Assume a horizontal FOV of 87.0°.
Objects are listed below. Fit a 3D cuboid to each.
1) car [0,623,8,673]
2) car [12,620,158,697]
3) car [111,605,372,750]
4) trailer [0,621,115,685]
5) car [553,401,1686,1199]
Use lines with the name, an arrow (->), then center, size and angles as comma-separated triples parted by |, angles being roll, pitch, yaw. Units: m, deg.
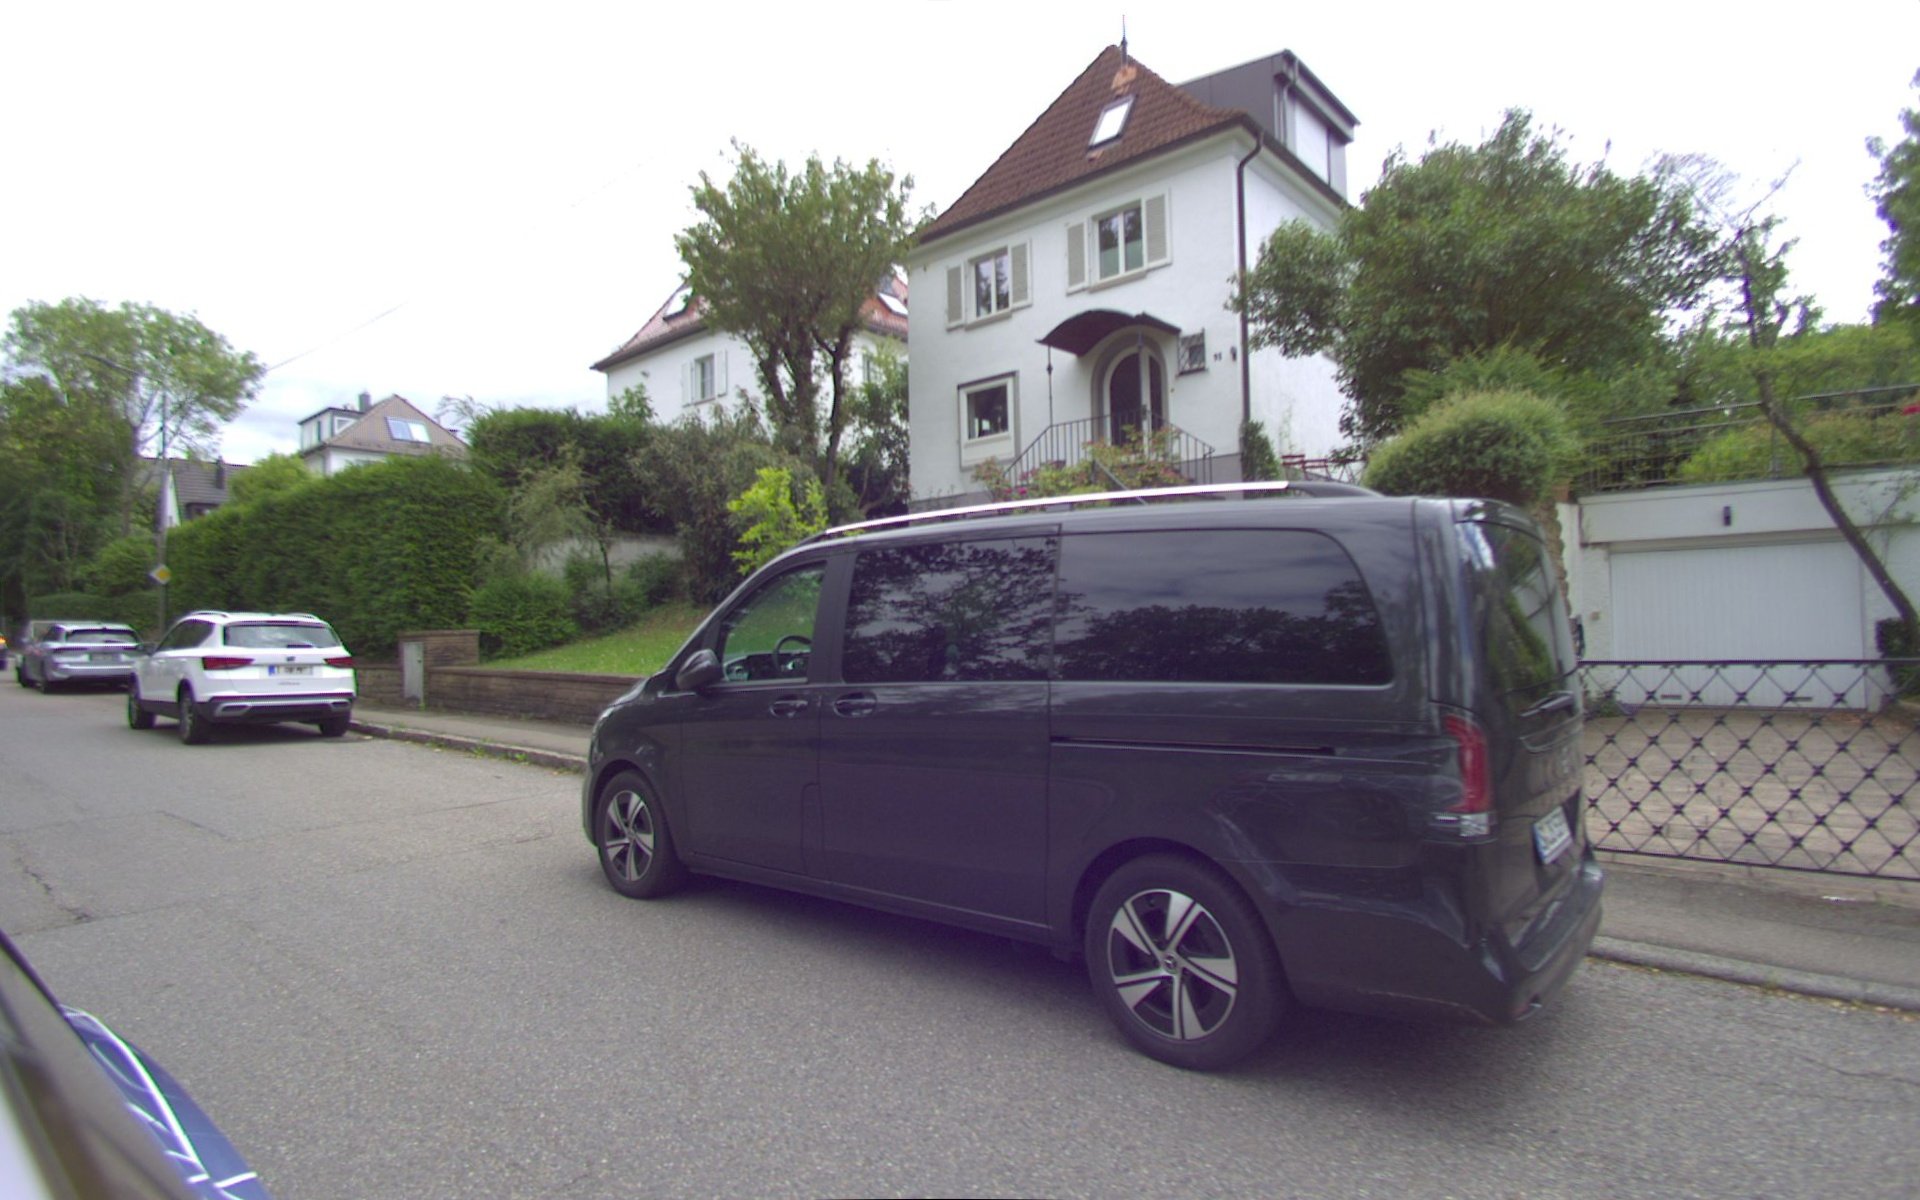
car -> -29.840, 1.399, 29.940 | 4.467, 1.457, 1.746 | -1, -2, 38
car -> -19.238, 1.232, 22.189 | 4.471, 1.511, 1.745 | -1, -3, 41
car -> -9.764, 0.958, 13.648 | 4.182, 1.661, 1.820 | -1, -3, 40
trailer -> -23.157, 1.300, 25.865 | 4.472, 1.507, 1.744 | -1, -2, 42
car -> 0.227, 0.530, 4.760 | 5.034, 1.941, 1.844 | -1, 0, 40
